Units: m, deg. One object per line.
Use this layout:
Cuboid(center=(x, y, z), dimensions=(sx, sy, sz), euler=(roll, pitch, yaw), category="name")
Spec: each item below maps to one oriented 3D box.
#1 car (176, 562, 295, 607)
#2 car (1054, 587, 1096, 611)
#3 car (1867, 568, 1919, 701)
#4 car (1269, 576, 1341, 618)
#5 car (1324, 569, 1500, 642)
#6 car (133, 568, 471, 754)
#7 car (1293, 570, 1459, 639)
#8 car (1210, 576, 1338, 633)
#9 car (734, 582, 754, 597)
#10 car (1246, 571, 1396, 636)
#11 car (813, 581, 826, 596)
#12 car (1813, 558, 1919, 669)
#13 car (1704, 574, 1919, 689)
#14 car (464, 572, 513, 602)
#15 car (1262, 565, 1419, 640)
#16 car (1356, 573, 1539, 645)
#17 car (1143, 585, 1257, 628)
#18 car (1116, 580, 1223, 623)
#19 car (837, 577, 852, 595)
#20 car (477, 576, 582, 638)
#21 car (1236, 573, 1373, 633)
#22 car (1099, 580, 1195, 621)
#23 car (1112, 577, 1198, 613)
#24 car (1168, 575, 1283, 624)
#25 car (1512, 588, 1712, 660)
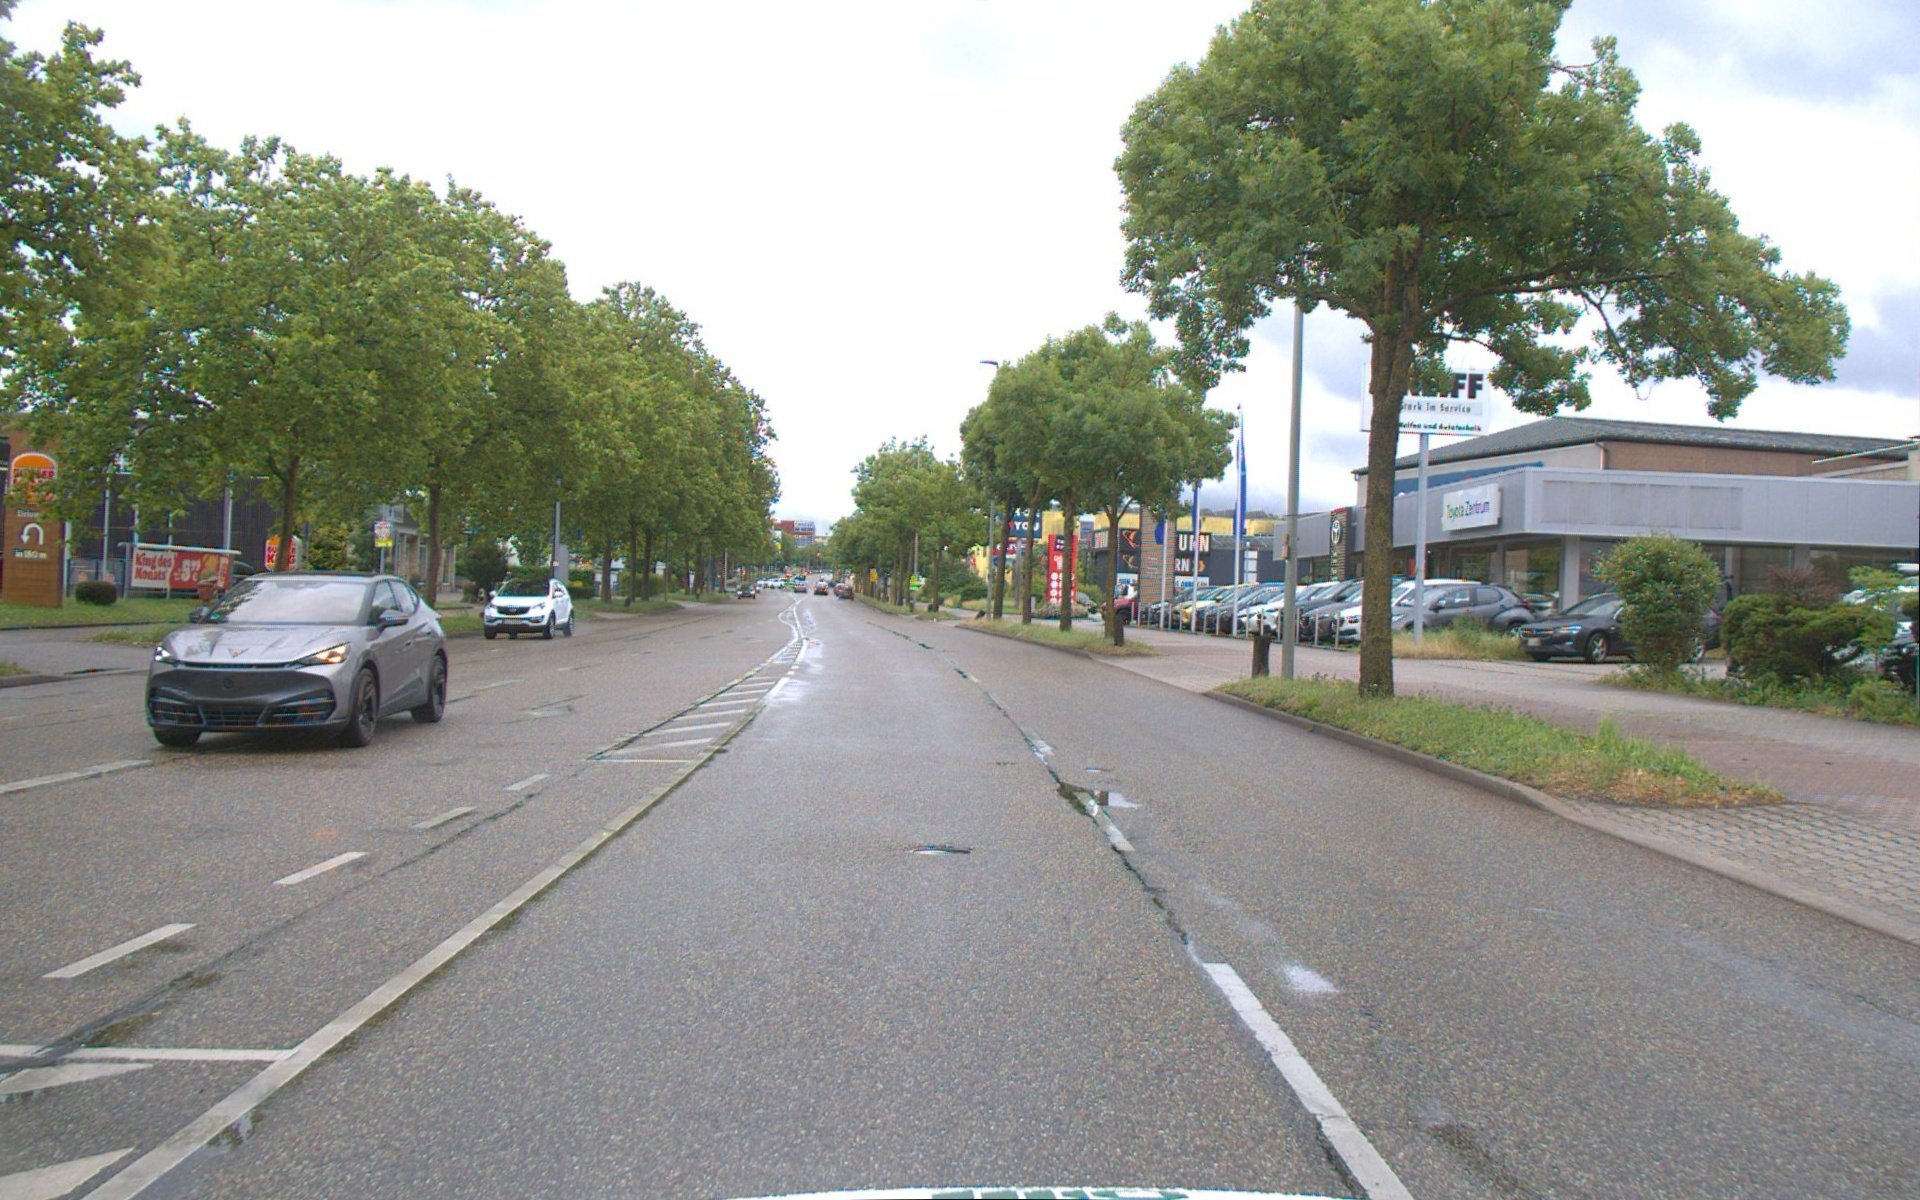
Cuboid(center=(-22.816, -0.480, 52.122), dimensions=(3.109, 1.175, 1.291), euler=(4, 1, 3), category="car")
Cuboid(center=(7.674, -0.070, 110.811), dimensions=(1.551, 1.453, 4.250), euler=(1, 1, -14), category="car")
Cuboid(center=(14.373, 0.453, 21.702), dimensions=(4.056, 1.691, 1.822), euler=(1, 2, 20), category="car")
Cuboid(center=(13.906, -0.138, 66.857), dimensions=(1.837, 1.650, 4.120), euler=(-1, 0, -4), category="car")
Cuboid(center=(11.455, 0.127, 42.088), dimensions=(3.908, 1.570, 1.811), euler=(-3, 1, -3), category="car")
Cuboid(center=(-6.351, 0.530, 16.572), dimensions=(1.775, 1.589, 4.595), euler=(1, 0, -4), category="car")
Cuboid(center=(11.130, 0.109, 44.404), dimensions=(3.908, 1.612, 1.811), euler=(-3, 1, -3), category="car")
Cuboid(center=(10.497, 0.142, 55.482), dimensions=(3.907, 1.818, 1.811), euler=(0, 0, -3), category="car")
Cuboid(center=(-21.589, -1.067, 165.268), dimensions=(1.768, 1.488, 3.842), euler=(0, 1, -4), category="car")
Cuboid(center=(10.728, 0.071, 49.284), dimensions=(3.911, 1.615, 1.810), euler=(-4, 1, -6), category="car")
Cuboid(center=(-20.172, -1.648, 237.994), dimensions=(1.710, 2.049, 3.997), euler=(1, 0, -4), category="car")
Cuboid(center=(20.302, 0.286, 33.995), dimensions=(4.562, 2.187, 1.963), euler=(1, 0, -5), category="car")
Cuboid(center=(13.348, 0.443, 24.518), dimensions=(3.969, 1.625, 1.986), euler=(0, 0, 16), category="car")
Cuboid(center=(-24.728, -0.700, 86.865), dimensions=(1.788, 1.512, 3.934), euler=(1, 0, -6), category="car")
Cuboid(center=(10.657, 0.060, 46.481), dimensions=(3.908, 1.817, 1.811), euler=(-3, 0, -3), category="car")
Cuboid(center=(11.607, 0.200, 39.514), dimensions=(3.758, 1.486, 1.826), euler=(-3, 1, -5), category="car")
Cuboid(center=(8.998, 0.228, 62.180), dimensions=(3.909, 1.565, 1.798), euler=(1, 0, -5), category="car")
Cuboid(center=(8.267, 0.040, 65.475), dimensions=(3.909, 1.676, 1.843), euler=(0, 0, -5), category="car")
Cuboid(center=(-13.243, -1.577, 190.177), dimensions=(1.710, 2.049, 3.997), euler=(1, 0, -4), category="car")
Cuboid(center=(-12.099, 0.193, 46.722), dimensions=(1.889, 1.647, 4.397), euler=(1, 0, -1), category="car")
Cuboid(center=(10.776, 0.098, 51.898), dimensions=(3.907, 1.818, 1.811), euler=(0, 0, -3), category="car")
Cuboid(center=(7.917, 0.023, 70.308), dimensions=(3.766, 1.631, 1.794), euler=(-2, 0, -5), category="car")
Cuboid(center=(11.687, -0.290, 99.295), dimensions=(4.740, 2.049, 1.983), euler=(1, 0, -15), category="car")
Cuboid(center=(9.636, -0.027, 60.135), dimensions=(3.766, 1.593, 1.664), euler=(-3, 1, -7), category="car")
Cuboid(center=(14.001, 0.497, 35.647), dimensions=(3.603, 1.489, 1.794), euler=(0, 0, 0), category="car")
